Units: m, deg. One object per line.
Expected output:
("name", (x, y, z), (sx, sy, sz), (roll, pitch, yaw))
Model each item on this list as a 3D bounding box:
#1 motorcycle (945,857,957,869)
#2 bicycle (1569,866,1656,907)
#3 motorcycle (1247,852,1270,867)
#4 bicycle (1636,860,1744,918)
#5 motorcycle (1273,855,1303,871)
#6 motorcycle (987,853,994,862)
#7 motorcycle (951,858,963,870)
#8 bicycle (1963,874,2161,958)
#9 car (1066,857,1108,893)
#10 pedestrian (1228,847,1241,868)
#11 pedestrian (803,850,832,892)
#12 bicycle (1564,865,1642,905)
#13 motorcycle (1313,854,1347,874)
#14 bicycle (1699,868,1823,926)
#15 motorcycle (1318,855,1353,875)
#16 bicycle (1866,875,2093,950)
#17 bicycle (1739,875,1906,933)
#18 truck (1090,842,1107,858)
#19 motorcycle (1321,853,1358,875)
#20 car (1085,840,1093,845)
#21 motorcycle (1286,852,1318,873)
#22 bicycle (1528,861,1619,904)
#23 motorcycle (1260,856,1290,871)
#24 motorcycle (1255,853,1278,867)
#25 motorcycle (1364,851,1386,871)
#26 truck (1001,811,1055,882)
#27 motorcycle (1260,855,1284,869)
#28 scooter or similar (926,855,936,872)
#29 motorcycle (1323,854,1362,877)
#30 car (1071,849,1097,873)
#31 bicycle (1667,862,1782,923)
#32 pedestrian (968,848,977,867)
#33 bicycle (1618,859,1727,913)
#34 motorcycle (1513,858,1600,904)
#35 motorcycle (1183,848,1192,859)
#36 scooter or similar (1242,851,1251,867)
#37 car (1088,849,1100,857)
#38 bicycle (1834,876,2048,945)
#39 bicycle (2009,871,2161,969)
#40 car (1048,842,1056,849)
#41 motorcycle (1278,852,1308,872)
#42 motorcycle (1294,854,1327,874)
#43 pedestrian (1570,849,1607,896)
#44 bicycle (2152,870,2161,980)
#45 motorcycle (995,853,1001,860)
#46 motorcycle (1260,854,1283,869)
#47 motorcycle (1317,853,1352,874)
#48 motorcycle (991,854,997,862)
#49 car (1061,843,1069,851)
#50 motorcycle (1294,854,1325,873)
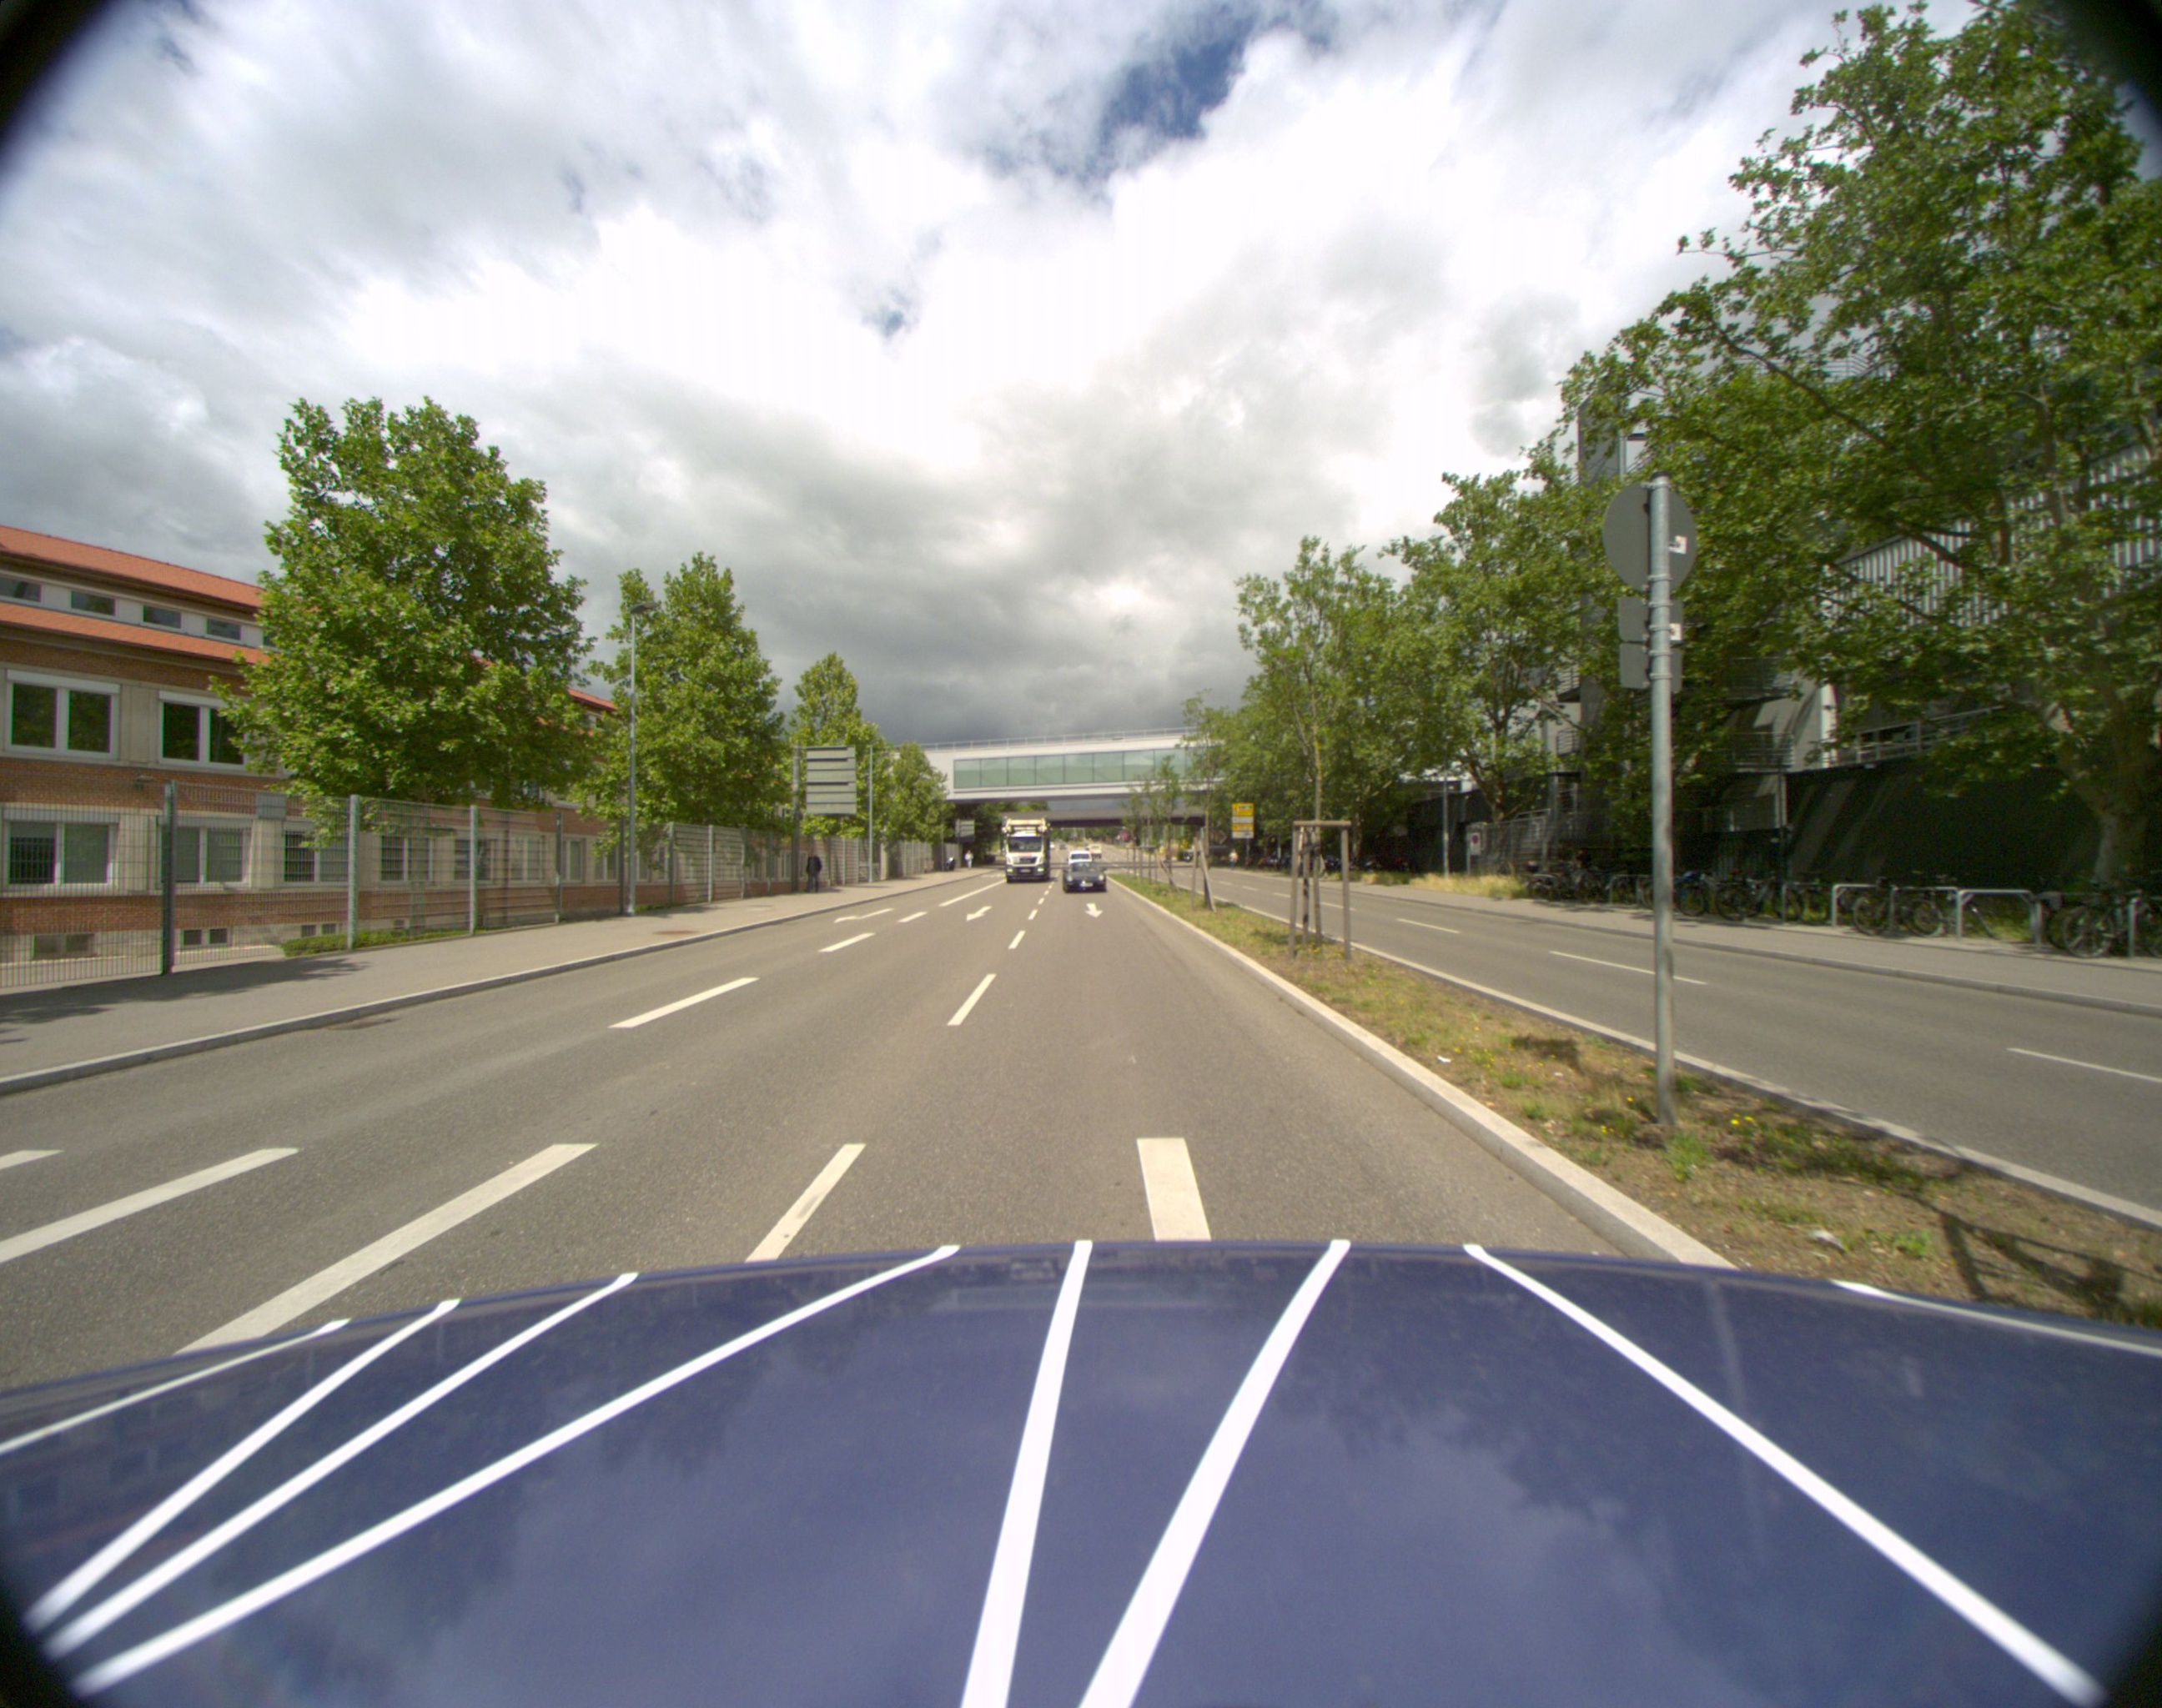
("motorcycle", (-11.814, 0.782, 68.977), (0.670, 1.058, 2.246), (2, 1, -1))
("bicycle", (14.700, 0.900, 21.020), (2.086, 1.056, 0.497), (-1, 1, -2))
("motorcycle", (15.004, 0.494, 64.338), (1.745, 1.164, 0.777), (-3, -1, 8))
("bicycle", (14.352, 0.809, 17.948), (1.923, 1.275, 0.806), (-1, 1, -2))
("motorcycle", (15.204, 0.662, 55.749), (1.933, 1.109, 0.923), (-3, -1, 27))
("motorcycle", (-12.194, 0.485, 101.978), (0.679, 1.148, 2.112), (0, 1, 0))
("motorcycle", (-11.762, 0.909, 72.110), (0.709, 1.058, 2.510), (2, 1, -1))
("bicycle", (15.002, 0.916, 11.312), (2.569, 1.151, 0.726), (-1, 1, 10))
("car", (0.208, 0.860, 32.629), (1.675, 1.390, 3.999), (-1, 0, -1))
("pedestrian", (12.313, 0.286, 60.928), (0.769, 1.603, 0.813), (-3, 1, -1))
("pedestrian", (-11.264, 0.716, 32.524), (0.879, 1.733, 0.940), (1, 1, -1))
("bicycle", (14.752, 0.864, 21.489), (1.929, 1.068, 0.422), (-1, 1, -2))
("motorcycle", (15.658, 0.611, 47.881), (1.882, 1.172, 0.698), (-3, -1, 3))
("bicycle", (14.346, 0.894, 16.057), (1.923, 1.116, 0.806), (-1, 1, -2))
("motorcycle", (15.276, 0.643, 45.644), (1.880, 1.078, 0.795), (-3, -1, 15))
("bicycle", (14.575, 0.946, 12.393), (2.569, 1.151, 0.644), (-1, 1, 10))
("bicycle", (14.778, 0.979, 15.170), (2.844, 1.000, 0.850), (-1, 1, -9))
("truck", (2.992, -0.705, 133.446), (2.486, 2.735, 6.456), (-1, 0, -3))
("motorcycle", (15.096, 0.582, 44.367), (1.881, 1.179, 0.730), (-3, 0, 8))
("car", (2.168, -3.256, 207.115), (1.998, 1.346, 4.000), (0, 1, 1))
("motorcycle", (15.090, 0.567, 51.901), (1.934, 1.336, 0.866), (-3, -1, 20))
("bicycle", (14.397, 0.812, 22.233), (2.139, 1.173, 0.806), (-1, 1, -2))
("motorcycle", (14.689, 0.701, 57.458), (1.939, 1.109, 0.920), (1, 1, -12))
("motorcycle", (15.224, 0.500, 62.326), (1.596, 1.116, 0.775), (-3, -1, -9))
("motorcycle", (18.674, 0.452, 48.277), (0.654, 1.202, 1.984), (-3, -1, 4))
("truck", (-3.222, -0.434, 48.558), (2.787, 3.981, 10.085), (-1, 0, -1))
("motorcycle", (14.983, 0.641, 59.620), (1.595, 1.027, 0.776), (-3, -1, 1))
("scooter or similar", (-12.185, 0.772, 61.779), (0.492, 1.287, 1.336), (0, 1, -1))
("motorcycle", (14.608, 0.651, 42.475), (1.881, 1.166, 0.746), (-3, -1, 9))
("car", (0.188, 0.528, 57.939), (1.929, 1.728, 3.999), (-1, 0, -1))
("bicycle", (14.424, 0.842, 17.072), (1.923, 1.275, 0.806), (-1, 1, -2))
("pedestrian", (-10.815, 0.323, 75.756), (0.791, 1.877, 1.097), (0, 1, -1))
("bicycle", (14.912, 0.794, 19.196), (2.139, 1.275, 0.806), (-1, 1, -2))
("motorcycle", (14.267, 0.791, 22.833), (2.139, 1.301, 0.806), (-1, 1, -2))
("motorcycle", (12.812, -0.060, 91.754), (0.641, 1.191, 2.257), (-3, 1, -1))
("scooter or similar", (13.187, 0.409, 60.594), (0.355, 1.229, 1.479), (-2, 2, -1))
("car", (2.557, -0.200, 146.312), (1.910, 1.621, 4.291), (-1, 0, -4))
("bicycle", (14.733, 0.950, 13.089), (2.569, 1.089, 0.696), (0, 1, 10))
("bicycle", (14.309, 0.887, 10.427), (2.410, 1.250, 0.556), (-1, 1, 2))
("car", (-8.158, -2.337, 215.901), (1.999, 2.002, 3.999), (-1, 0, -1))
("motorcycle", (15.123, 0.554, 54.121), (1.934, 1.283, 0.894), (-3, -1, 20))
("motorcycle", (14.849, 0.661, 49.212), (1.881, 1.172, 0.815), (-3, -1, 9))
("pedestrian", (17.054, 0.599, 25.537), (0.755, 1.543, 0.821), (-1, 1, 10))
("bicycle", (14.339, 0.851, 9.133), (2.172, 1.356, 0.490), (-1, 1, 2))
("motorcycle", (-11.867, 0.344, 108.776), (0.679, 1.076, 2.180), (0, 1, -2))
("motorcycle", (15.261, 0.634, 60.993), (1.595, 1.116, 0.776), (-3, -1, 1))
("motorcycle", (15.586, 0.584, 46.675), (1.882, 1.202, 0.655), (-3, -1, 3))
("motorcycle", (-12.078, 0.552, 105.703), (0.679, 1.076, 2.037), (0, 1, -2))
("car", (-4.605, -2.012, 218.315), (1.999, 2.002, 3.999), (-1, 0, -1))
("motorcycle", (15.118, 0.611, 50.391), (1.880, 1.172, 0.816), (-3, -1, 15))
